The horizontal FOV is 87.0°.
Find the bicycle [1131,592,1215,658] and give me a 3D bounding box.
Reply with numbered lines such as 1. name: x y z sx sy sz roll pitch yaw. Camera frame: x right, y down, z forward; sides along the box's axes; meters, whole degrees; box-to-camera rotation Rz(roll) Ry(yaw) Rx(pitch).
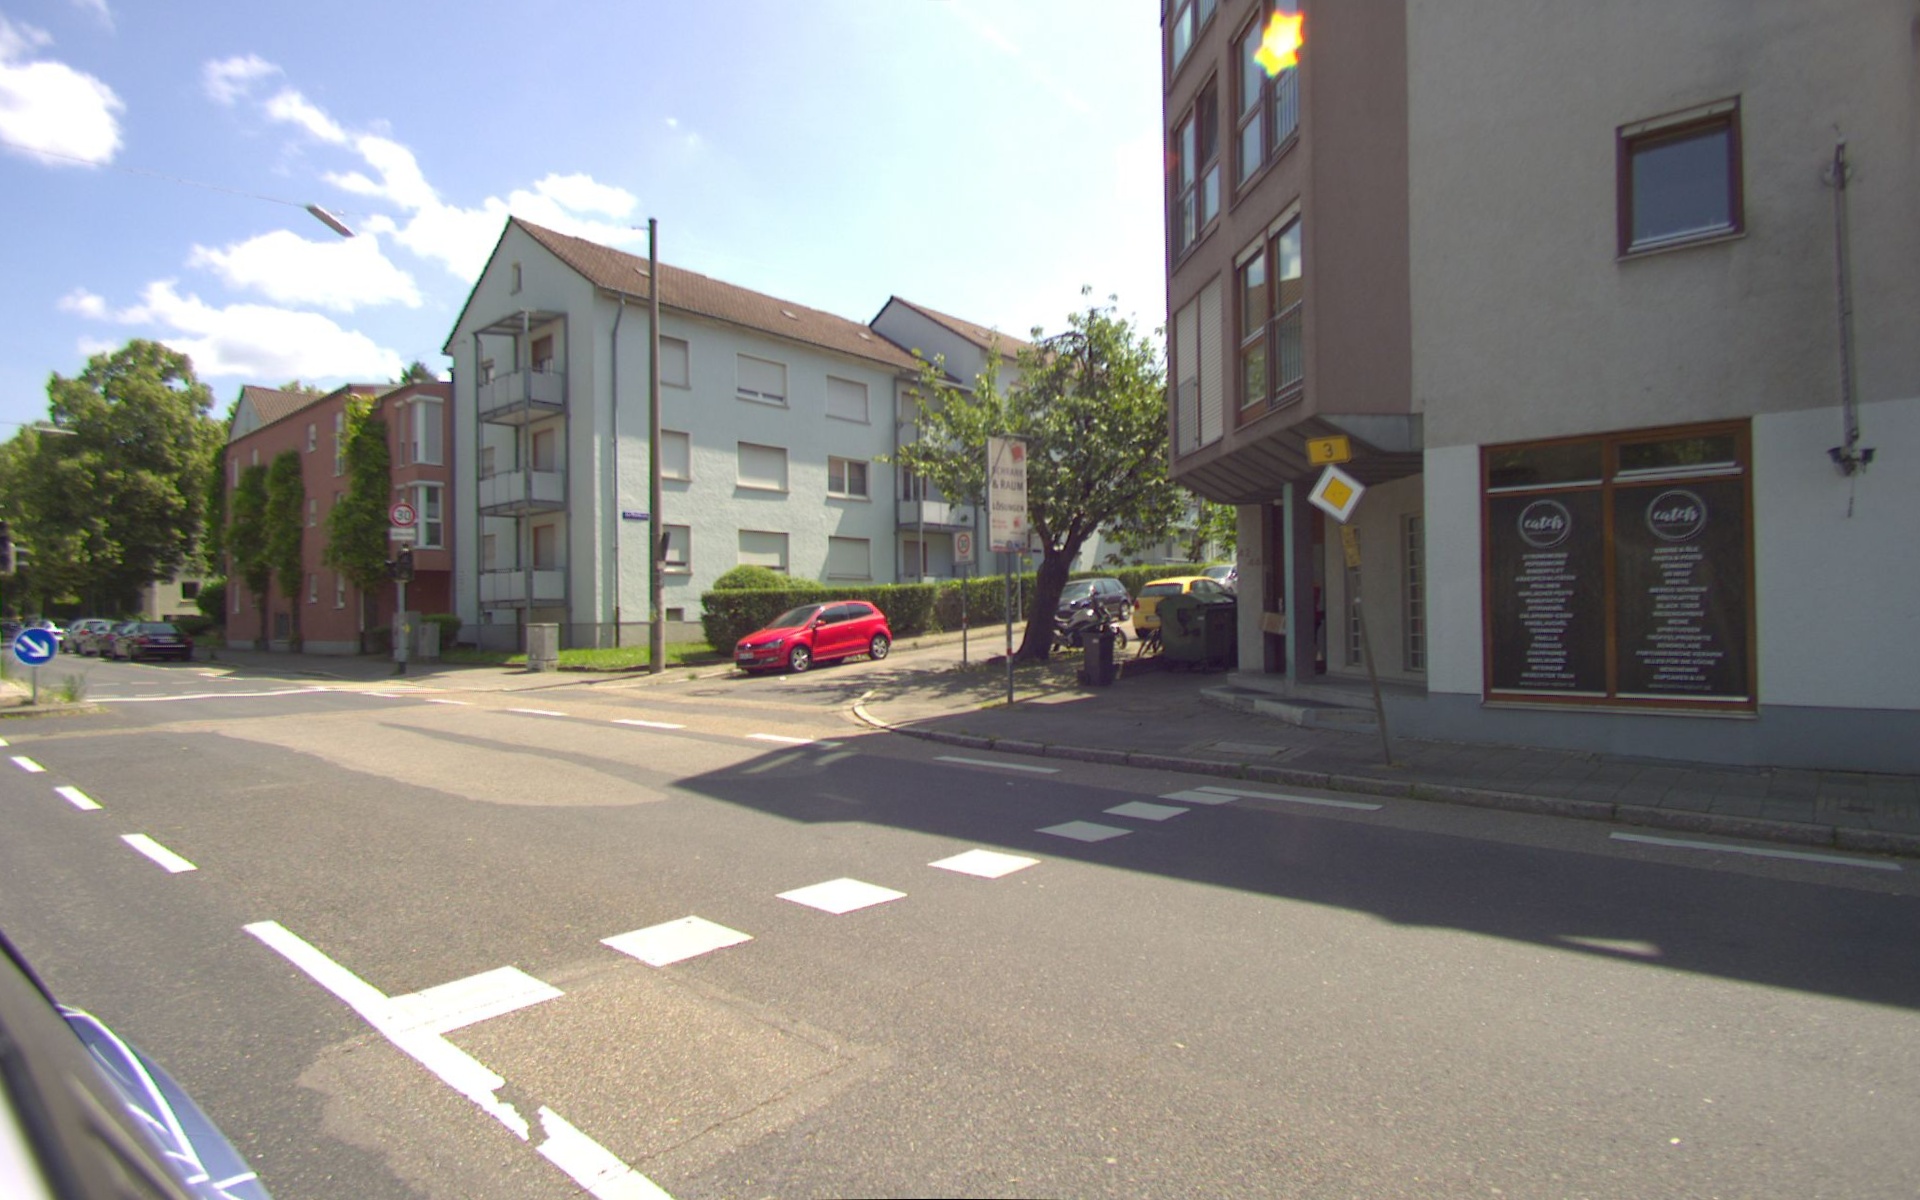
1. bicycle: 4.269 0.489 20.177 0.756 1.244 2.235 -1 -1 37

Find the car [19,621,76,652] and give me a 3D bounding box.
1. car: -48.693 1.926 53.974 3.997 1.519 1.730 -1 0 40

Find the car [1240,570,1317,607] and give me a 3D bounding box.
1. car: 13.406 -0.500 42.436 1.731 1.239 3.742 -5 0 39

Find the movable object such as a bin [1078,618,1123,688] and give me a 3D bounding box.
1. movable object such as a bin: 2.281 0.854 16.453 0.624 1.105 0.673 0 -1 1

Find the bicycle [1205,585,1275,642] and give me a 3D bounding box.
1. bicycle: 6.423 0.310 23.113 0.756 1.244 2.235 -1 -1 38

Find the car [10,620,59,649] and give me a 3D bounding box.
1. car: -52.530 1.933 57.433 3.997 1.519 1.552 -1 0 40

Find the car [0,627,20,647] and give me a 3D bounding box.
1. car: -65.806 2.532 69.229 3.605 1.343 1.735 -1 0 40

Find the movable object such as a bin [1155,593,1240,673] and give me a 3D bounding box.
1. movable object such as a bin: 4.319 0.585 18.394 1.084 1.377 1.262 -1 0 36

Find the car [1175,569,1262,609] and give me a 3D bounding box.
1. car: 10.027 -0.442 39.090 1.731 1.239 3.742 -5 0 39

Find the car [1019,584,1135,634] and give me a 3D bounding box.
1. car: 3.640 0.261 31.143 1.731 1.160 3.742 -5 0 39

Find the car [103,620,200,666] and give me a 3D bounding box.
1. car: -29.355 1.533 36.714 4.564 1.551 1.867 -1 -1 40

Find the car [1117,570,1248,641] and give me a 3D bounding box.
1. car: 5.800 0.112 26.162 1.654 1.424 3.742 -5 1 40

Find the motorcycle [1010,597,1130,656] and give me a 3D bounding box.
1. motorcycle: 2.398 0.579 22.033 2.372 1.042 0.923 -6 0 22

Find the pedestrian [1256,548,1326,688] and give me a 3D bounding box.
1. pedestrian: 4.974 0.263 15.198 0.836 2.029 0.593 -1 0 34

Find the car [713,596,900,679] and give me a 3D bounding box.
1. car: -3.361 0.791 22.774 1.731 1.462 3.948 -3 2 39

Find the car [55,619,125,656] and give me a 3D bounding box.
1. car: -38.690 1.649 44.995 3.997 1.519 1.730 -1 0 40

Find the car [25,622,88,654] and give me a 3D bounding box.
1. car: -44.067 1.829 49.361 3.997 1.453 1.730 -1 0 40

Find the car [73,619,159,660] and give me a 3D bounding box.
1. car: -34.145 1.578 40.893 4.564 1.551 1.867 -1 -1 40
